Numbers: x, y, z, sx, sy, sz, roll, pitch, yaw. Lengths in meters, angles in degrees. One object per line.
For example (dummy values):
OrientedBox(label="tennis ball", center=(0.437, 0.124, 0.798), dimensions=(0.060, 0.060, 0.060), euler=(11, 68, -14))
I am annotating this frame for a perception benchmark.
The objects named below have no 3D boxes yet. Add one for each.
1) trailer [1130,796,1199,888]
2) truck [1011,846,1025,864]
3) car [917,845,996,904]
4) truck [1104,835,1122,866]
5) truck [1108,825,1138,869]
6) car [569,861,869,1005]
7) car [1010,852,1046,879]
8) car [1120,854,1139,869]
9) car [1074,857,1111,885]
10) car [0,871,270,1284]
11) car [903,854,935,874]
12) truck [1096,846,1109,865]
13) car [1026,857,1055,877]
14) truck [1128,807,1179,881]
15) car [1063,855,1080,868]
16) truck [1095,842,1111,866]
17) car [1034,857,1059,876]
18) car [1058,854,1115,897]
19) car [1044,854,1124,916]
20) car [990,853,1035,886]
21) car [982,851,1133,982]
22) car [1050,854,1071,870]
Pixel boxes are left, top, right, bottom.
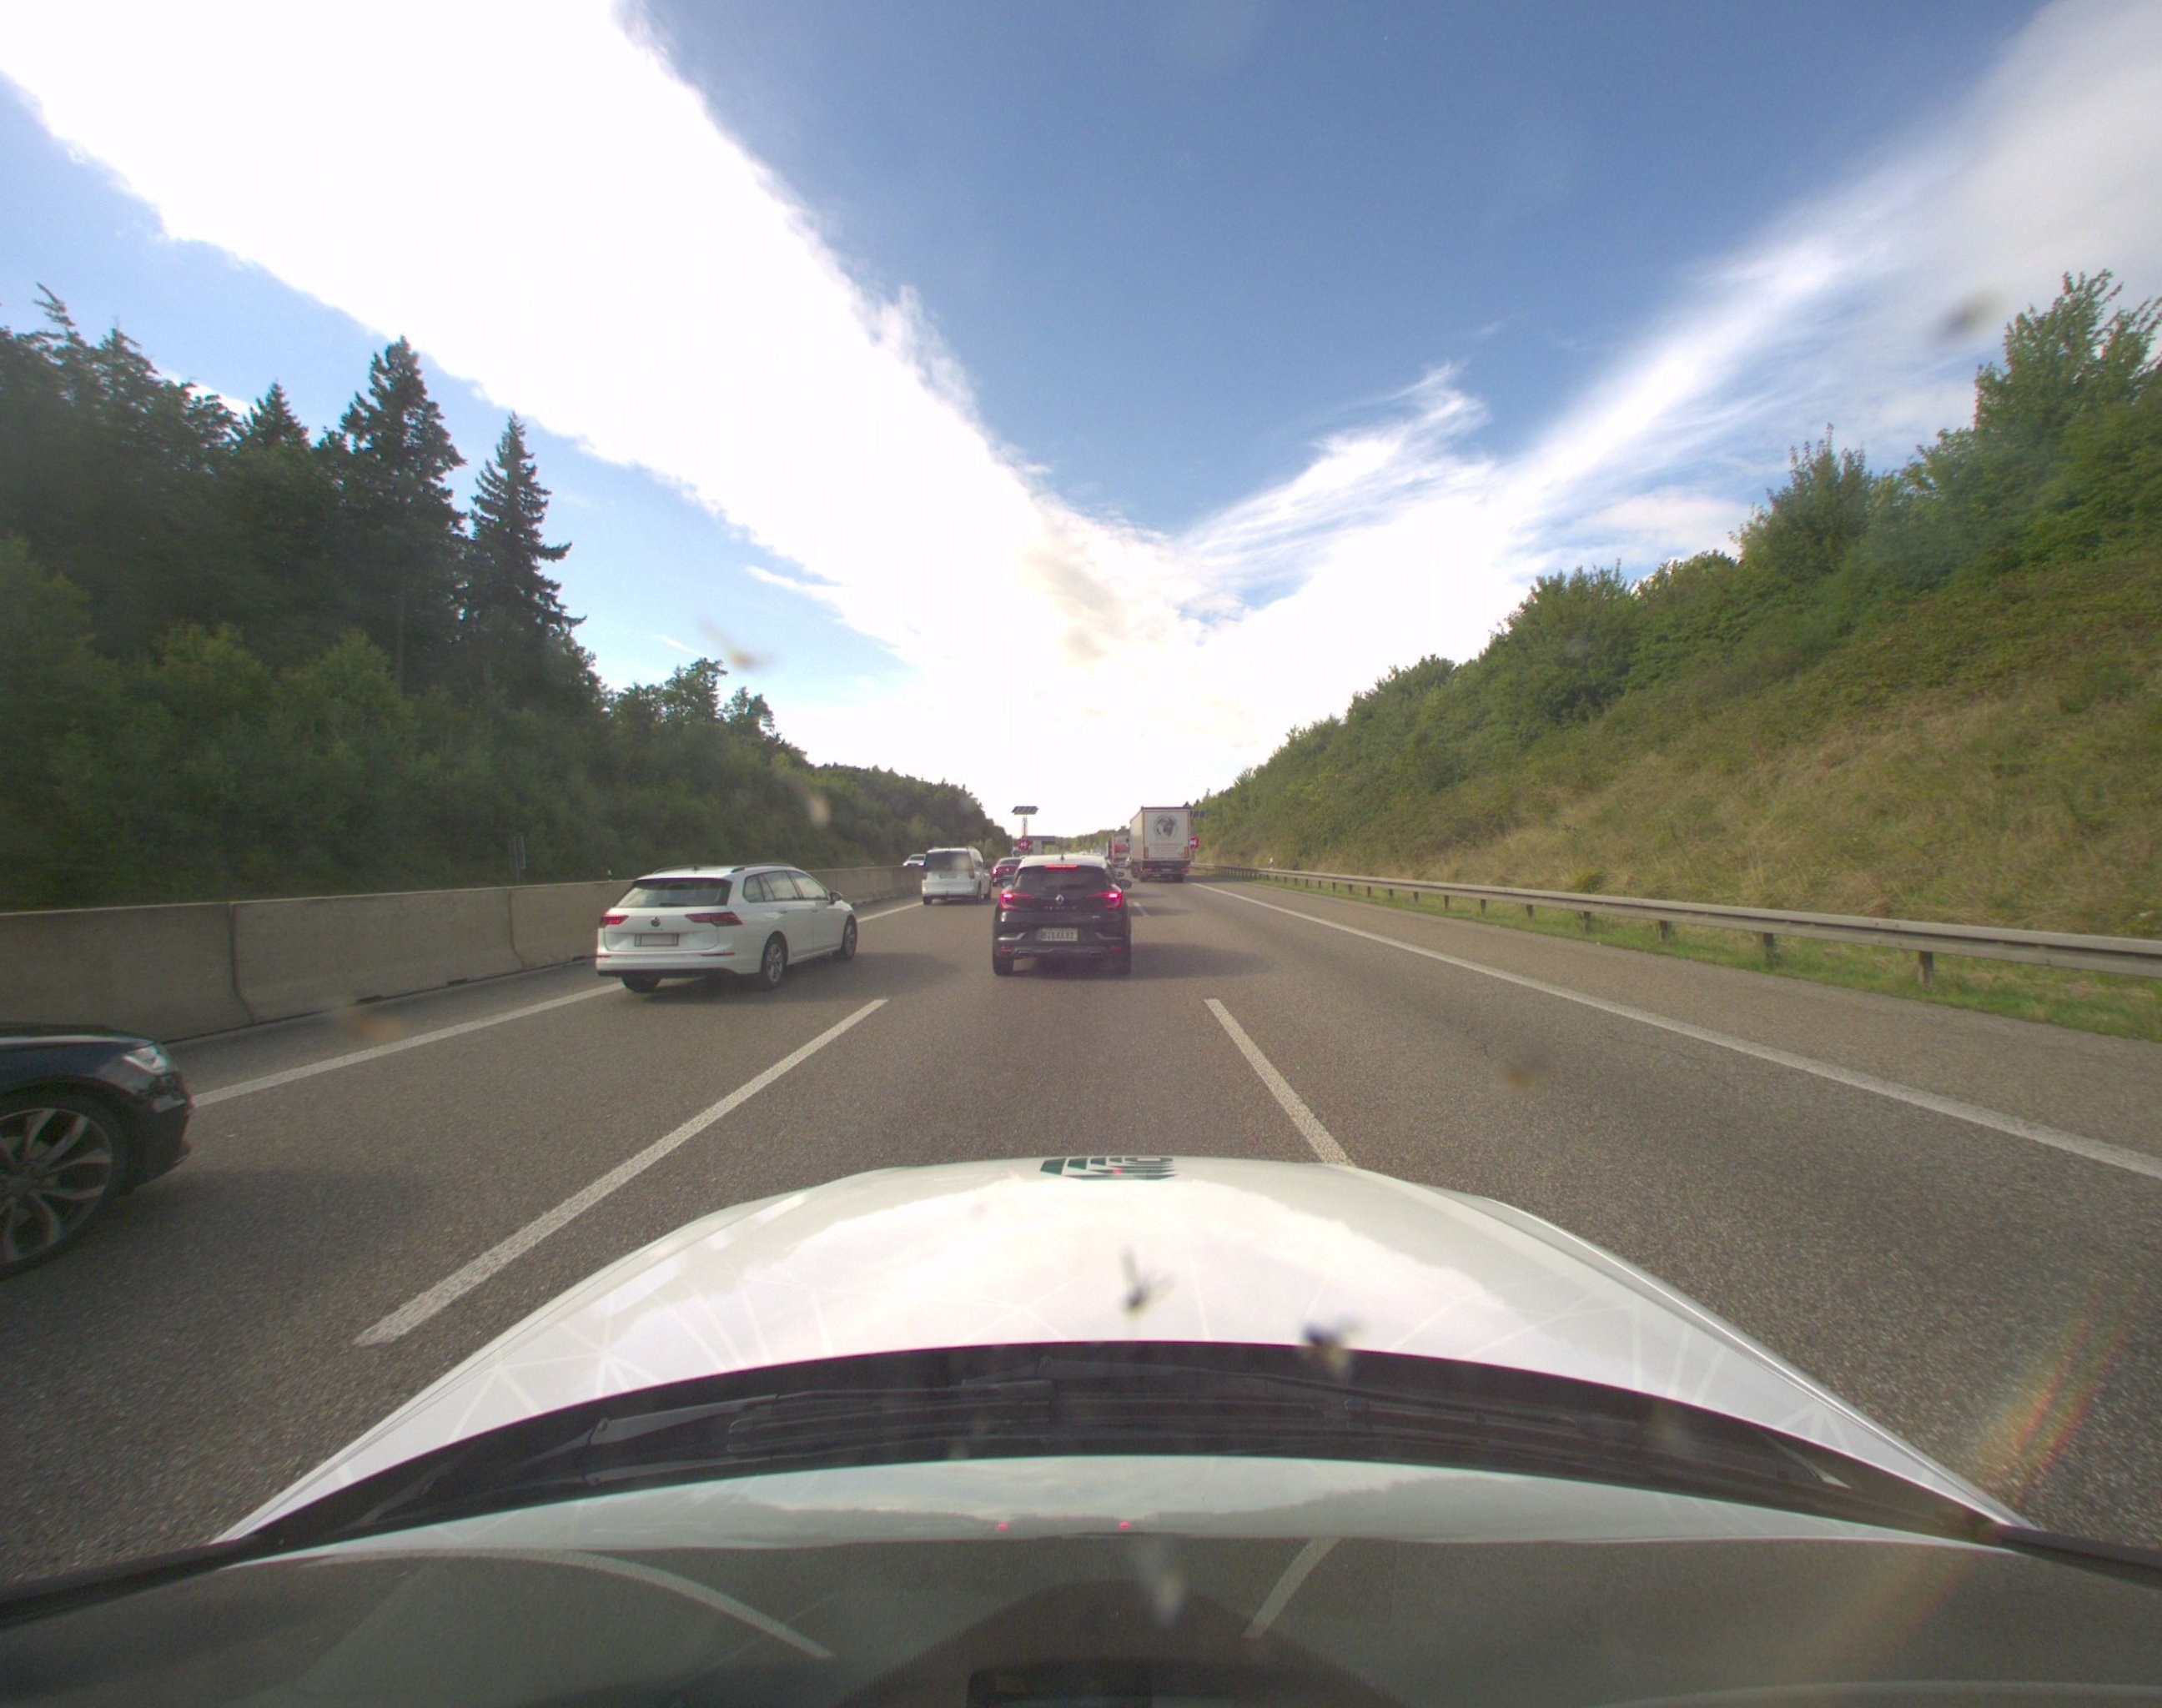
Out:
OrientedBox(label="trailer", center=(4.651, -0.626, 48.162), dimensions=(2.991, 4.661, 13.293), euler=(-1, 0, 1))
OrientedBox(label="truck", center=(-17.412, 0.270, 226.287), dimensions=(2.880, 5.093, 10.082), euler=(-1, 0, 1))
OrientedBox(label="car", center=(-4.073, 0.660, 27.318), dimensions=(1.905, 1.789, 4.417), euler=(-1, -1, 0))
OrientedBox(label="truck", center=(5.991, -0.558, 152.796), dimensions=(3.154, 5.505, 12.743), euler=(-1, -1, 2))
OrientedBox(label="truck", center=(5.158, -0.772, 101.323), dimensions=(3.351, 5.044, 12.743), euler=(-1, -1, 2))
OrientedBox(label="car", center=(-4.319, 0.839, 10.591), dimensions=(1.797, 1.461, 4.311), euler=(-1, -1, 3))
OrientedBox(label="car", center=(-3.500, 0.770, 54.734), dimensions=(1.986, 1.722, 4.002), euler=(-1, -1, 2))
OrientedBox(label="car", center=(5.067, 0.789, 86.101), dimensions=(1.798, 1.533, 3.925), euler=(-1, -1, 0))
OrientedBox(label="car", center=(0.676, 0.925, 45.228), dimensions=(1.986, 1.514, 4.002), euler=(-1, -1, 2))
OrientedBox(label="car", center=(-4.835, 0.816, 1.490), dimensions=(1.836, 1.456, 4.750), euler=(-1, 0, 2))
OrientedBox(label="car", center=(-14.754, 0.896, 74.284), dimensions=(1.845, 1.810, 4.926), euler=(-1, 0, 1))
OrientedBox(label="truck", center=(6.087, 0.356, 228.962), dimensions=(3.154, 5.159, 12.743), euler=(-1, -1, 2))
OrientedBox(label="car", center=(-3.260, 1.046, 66.298), dimensions=(1.986, 1.613, 4.002), euler=(-1, -1, 2))
OrientedBox(label="truck", center=(4.804, -0.637, 55.143), dimensions=(2.986, 4.667, 5.940), euler=(-1, 0, 1))
OrientedBox(label="car", center=(-1.248, 0.992, 108.256), dimensions=(1.986, 1.613, 4.002), euler=(-1, 0, 2))
OrientedBox(label="truck", center=(5.356, 0.062, 194.228), dimensions=(3.153, 5.505, 12.749), euler=(-1, -1, 4))
OrientedBox(label="car", center=(-3.089, 1.124, 73.832), dimensions=(1.986, 1.613, 4.002), euler=(-1, -1, 2))
OrientedBox(label="car", center=(0.261, 0.779, 30.864), dimensions=(1.986, 1.514, 4.002), euler=(-1, -1, 2))
OrientedBox(label="car", center=(0.145, 0.790, 22.170), dimensions=(1.986, 1.514, 4.002), euler=(-1, -1, 2))
OrientedBox(label="car", center=(-3.504, 0.790, 42.218), dimensions=(1.848, 1.641, 3.928), euler=(-1, -1, 2))
OrientedBox(label="car", center=(-0.159, 0.766, 11.851), dimensions=(1.797, 1.552, 4.004), euler=(-1, 0, 4))
OrientedBox(label="car", center=(-2.107, 0.855, 85.487), dimensions=(1.986, 1.613, 4.002), euler=(-1, 0, 2))
